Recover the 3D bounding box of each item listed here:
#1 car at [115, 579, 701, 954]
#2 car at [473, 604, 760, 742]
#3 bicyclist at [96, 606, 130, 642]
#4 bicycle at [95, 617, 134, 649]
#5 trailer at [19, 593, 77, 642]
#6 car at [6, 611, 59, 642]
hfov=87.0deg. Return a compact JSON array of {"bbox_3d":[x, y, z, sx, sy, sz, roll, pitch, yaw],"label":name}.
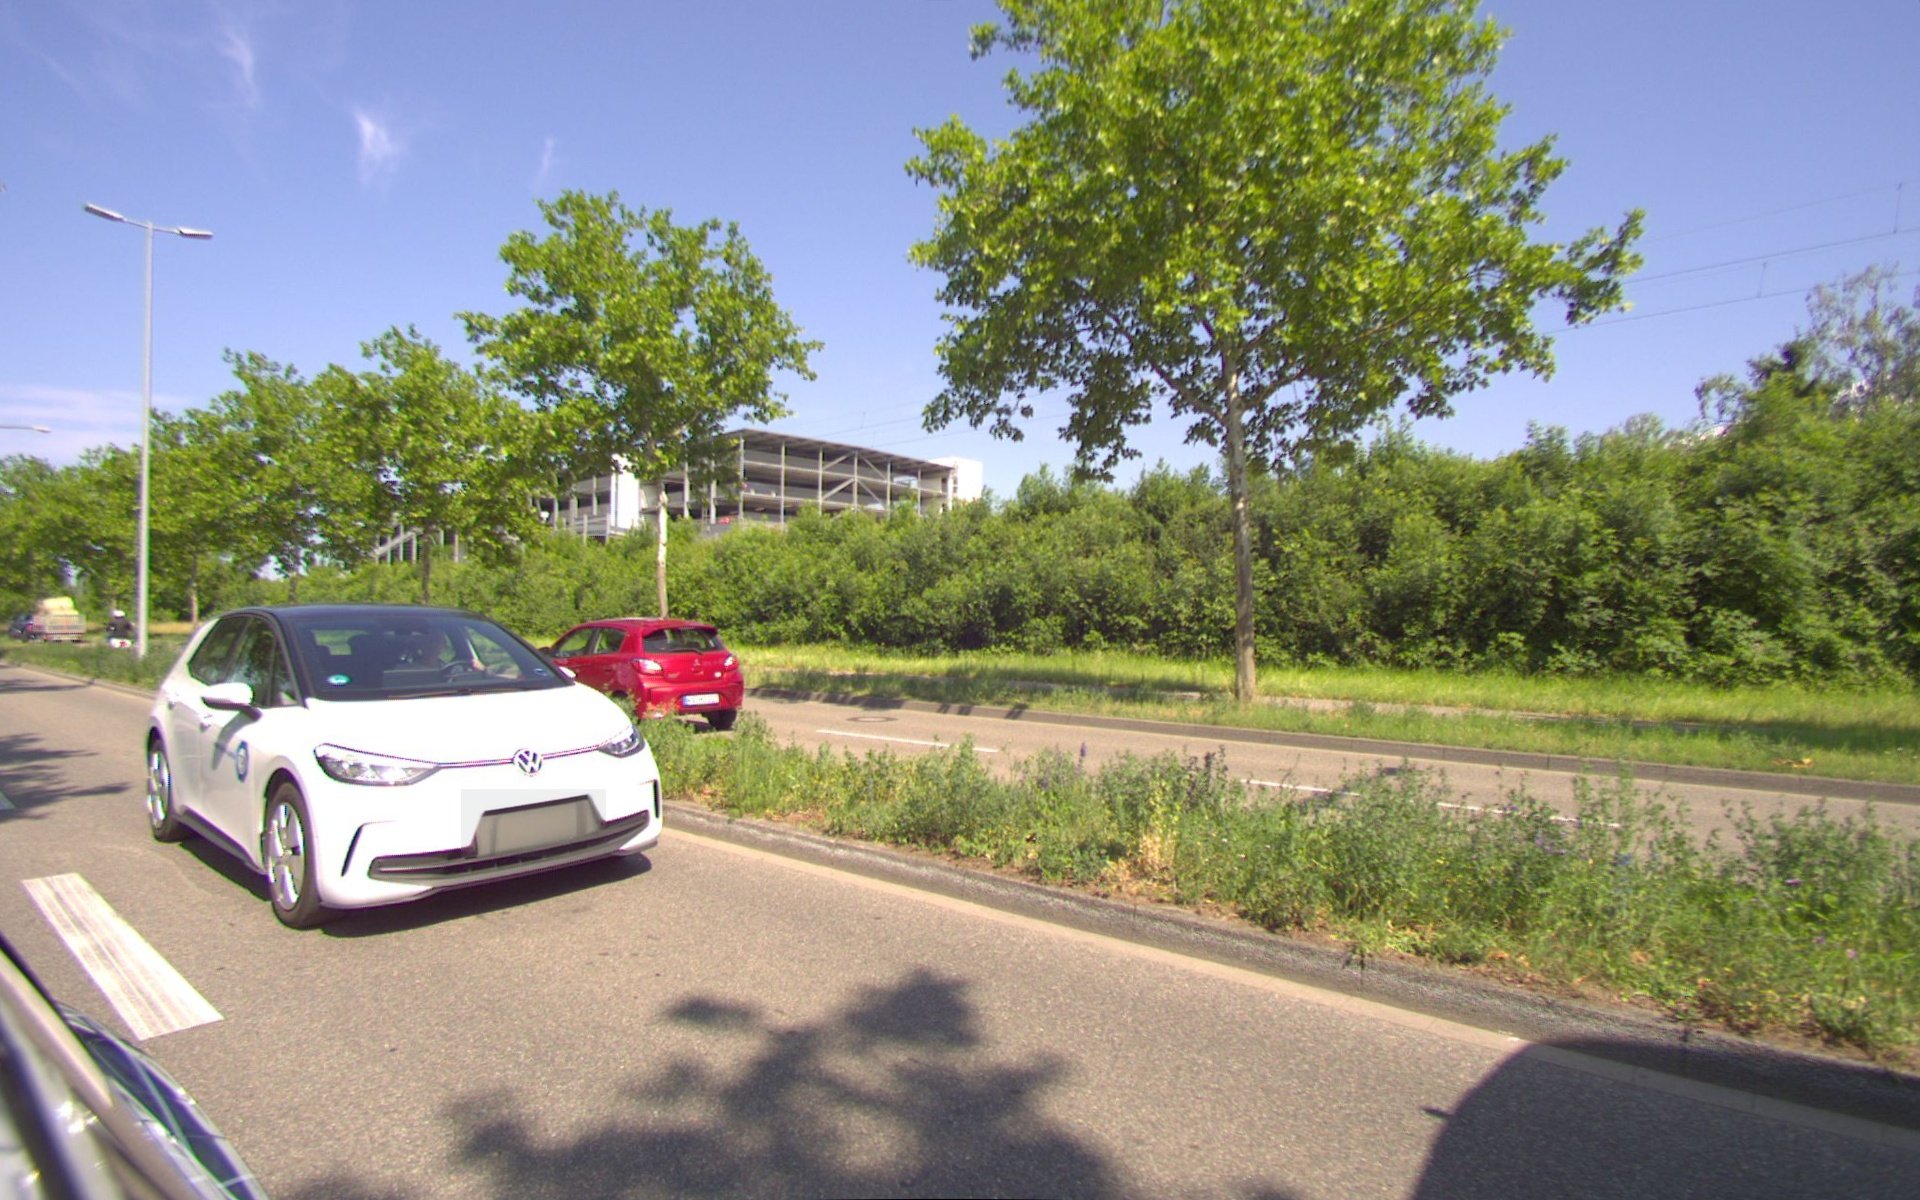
[{"bbox_3d":[-3.582,0.703,6.210,4.206,1.533,1.800,-1,-1,41],"label":"car"},{"bbox_3d":[-4.757,0.865,13.756,4.172,1.595,1.835,-1,-1,40],"label":"car"},{"bbox_3d":[-29.517,0.826,35.264,1.101,1.199,0.720,0,0,41],"label":"bicyclist"},{"bbox_3d":[-29.427,1.128,35.226,2.216,1.037,0.720,-1,0,42],"label":"bicycle"},{"bbox_3d":[-53.666,0.994,59.499,4.824,2.764,1.861,0,0,40],"label":"trailer"},{"bbox_3d":[-57.525,1.596,62.714,5.371,1.803,1.747,0,0,40],"label":"car"}]
